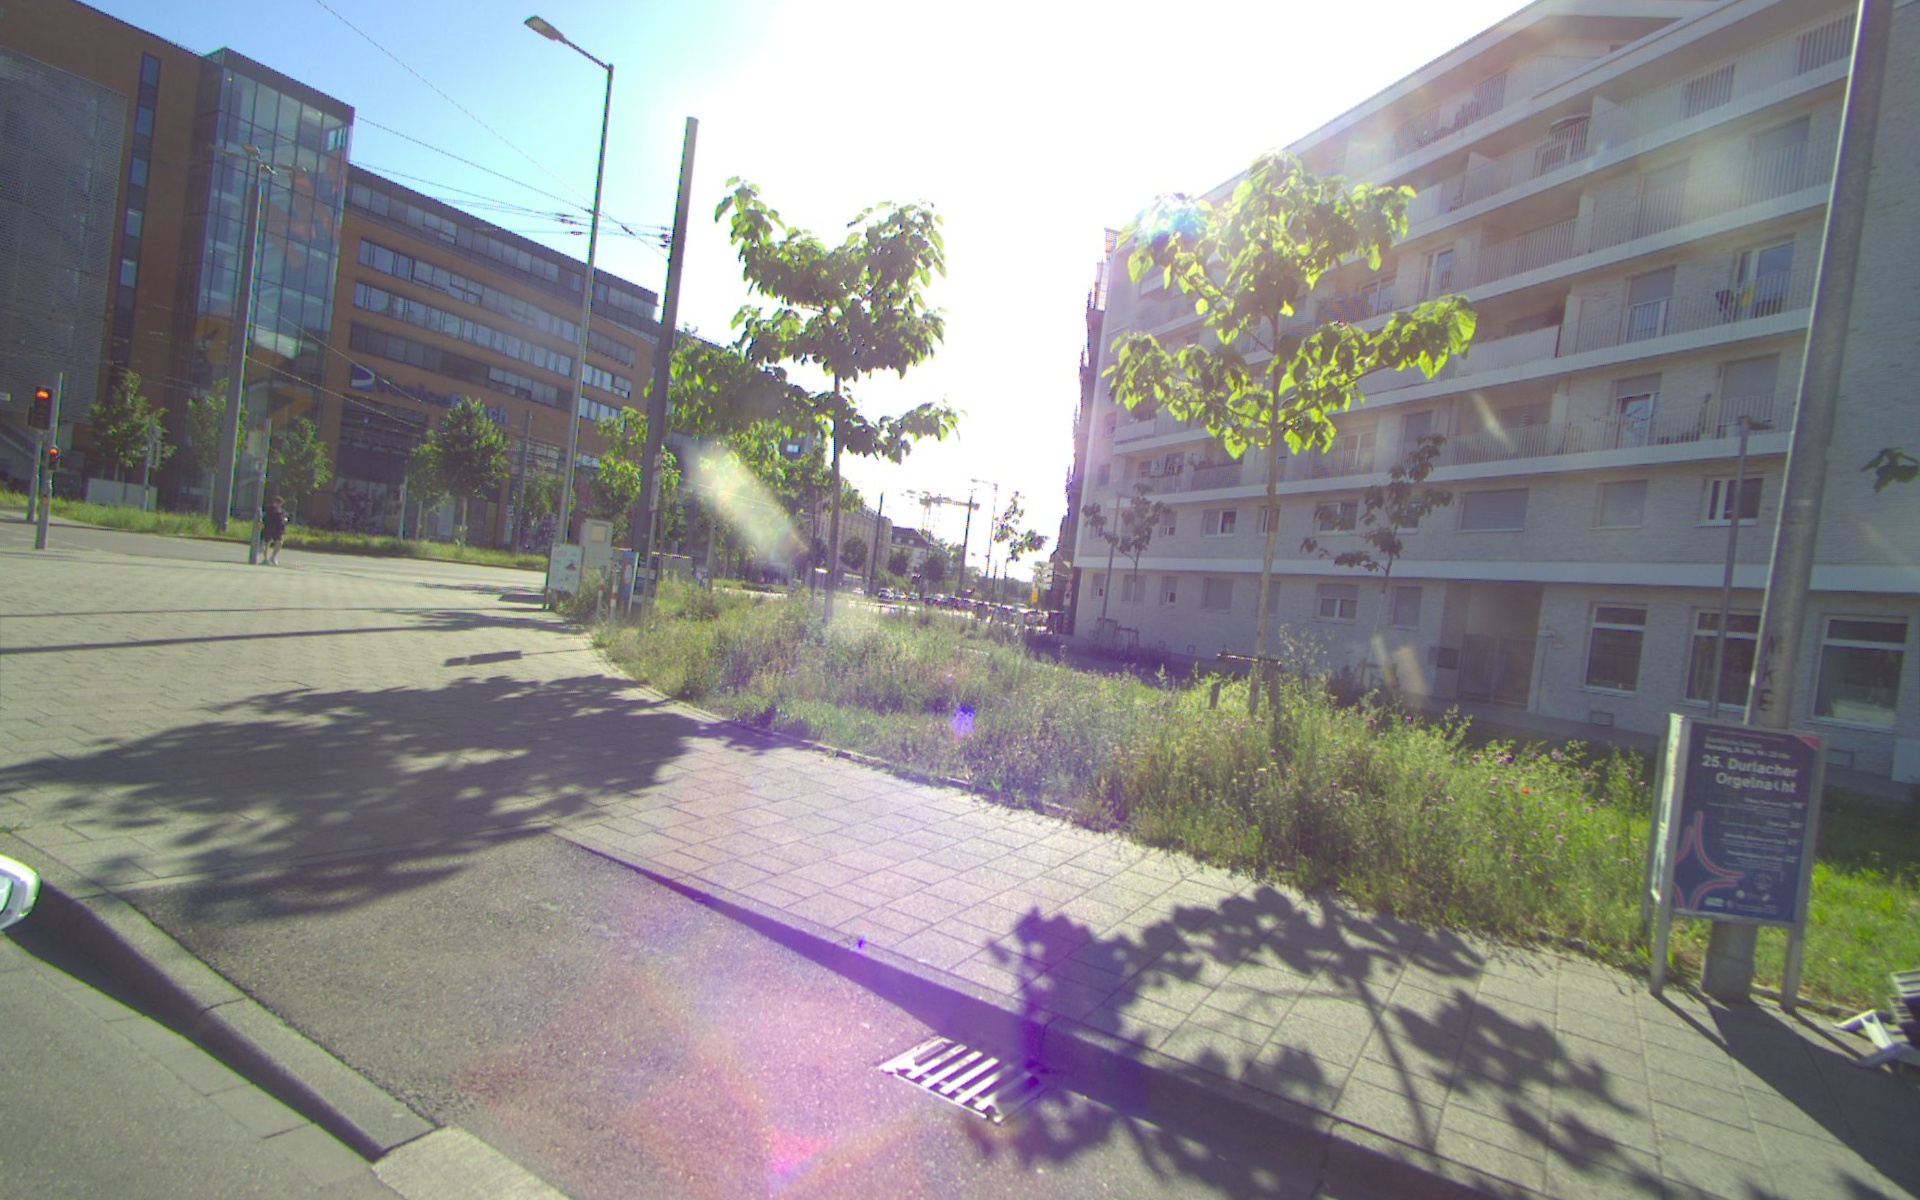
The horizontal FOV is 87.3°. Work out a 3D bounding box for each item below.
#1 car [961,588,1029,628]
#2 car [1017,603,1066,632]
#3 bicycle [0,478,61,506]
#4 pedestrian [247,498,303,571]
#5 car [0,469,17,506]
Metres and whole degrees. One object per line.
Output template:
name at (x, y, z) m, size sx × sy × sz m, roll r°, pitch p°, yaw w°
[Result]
car at (2.234, 0.521, 64.592) m, size 3.930 × 2.038 × 1.998 m, roll 7°, pitch 0°, yaw -6°
car at (7.101, 1.513, 88.174) m, size 3.927 × 2.038 × 1.999 m, roll 7°, pitch 0°, yaw -2°
bicycle at (-52.253, -6.071, 55.773) m, size 1.099 × 1.090 × 3.362 m, roll 8°, pitch -1°, yaw 36°
pedestrian at (-17.685, -1.689, 25.976) m, size 0.749 × 1.730 × 0.807 m, roll 8°, pitch 1°, yaw 30°
car at (-42.564, -5.057, 41.916) m, size 1.469 × 1.513 × 4.493 m, roll 8°, pitch 0°, yaw 30°
